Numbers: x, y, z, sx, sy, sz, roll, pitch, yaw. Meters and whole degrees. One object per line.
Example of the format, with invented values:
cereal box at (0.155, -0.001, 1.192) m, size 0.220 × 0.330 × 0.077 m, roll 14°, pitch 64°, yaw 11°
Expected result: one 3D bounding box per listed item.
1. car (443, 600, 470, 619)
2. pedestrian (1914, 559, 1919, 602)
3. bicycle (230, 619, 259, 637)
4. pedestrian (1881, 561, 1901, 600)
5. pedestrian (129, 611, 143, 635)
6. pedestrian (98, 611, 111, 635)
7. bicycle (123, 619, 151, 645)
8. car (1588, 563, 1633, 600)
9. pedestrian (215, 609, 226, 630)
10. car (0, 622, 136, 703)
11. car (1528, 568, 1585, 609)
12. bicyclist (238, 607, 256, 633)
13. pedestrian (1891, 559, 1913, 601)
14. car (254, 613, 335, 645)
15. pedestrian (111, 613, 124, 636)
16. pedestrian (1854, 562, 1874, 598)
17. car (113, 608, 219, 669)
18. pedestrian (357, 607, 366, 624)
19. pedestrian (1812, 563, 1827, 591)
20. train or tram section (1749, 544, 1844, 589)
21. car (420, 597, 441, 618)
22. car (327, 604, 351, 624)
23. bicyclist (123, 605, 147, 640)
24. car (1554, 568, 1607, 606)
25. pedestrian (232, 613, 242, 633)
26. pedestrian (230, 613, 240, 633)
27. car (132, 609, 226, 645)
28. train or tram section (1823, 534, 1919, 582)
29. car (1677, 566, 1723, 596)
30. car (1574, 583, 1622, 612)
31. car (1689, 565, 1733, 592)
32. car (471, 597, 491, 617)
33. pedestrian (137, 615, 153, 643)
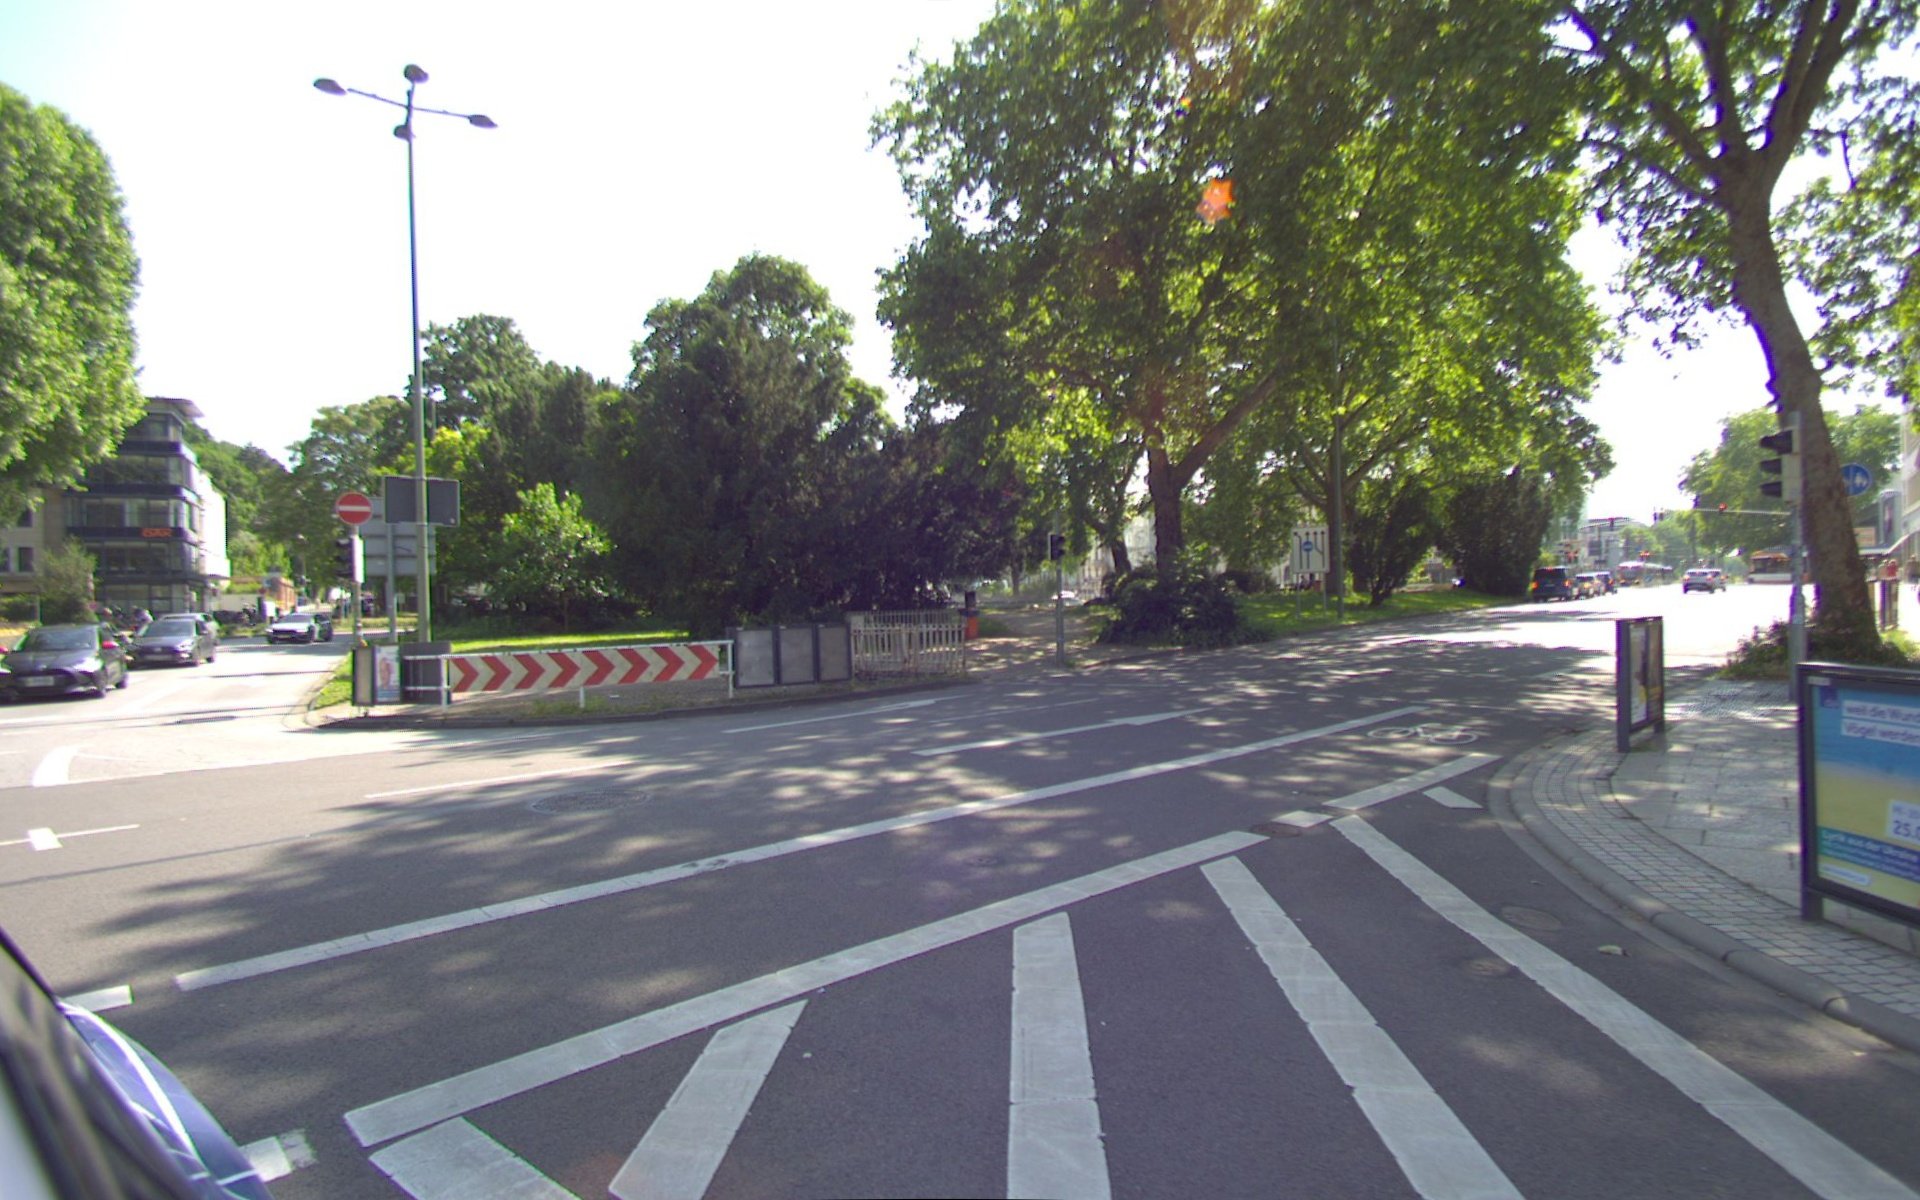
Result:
car at (-46.733, 0.910, 93.894) m, size 1.821 × 1.674 × 4.011 m, roll -1°, pitch 0°, yaw -33°
pedestrian at (46.420, -0.932, 48.704) m, size 0.822 × 2.029 × 0.697 m, roll 0°, pitch 0°, yaw -42°
bicycle at (-44.749, 1.765, 63.312) m, size 0.699 × 1.062 × 2.213 m, roll -1°, pitch 0°, yaw -13°
pedestrian at (48.964, -0.998, 53.251) m, size 0.822 × 2.029 × 0.697 m, roll 0°, pitch 0°, yaw -42°
pedestrian at (-61.028, 1.711, 74.915) m, size 0.690 × 1.718 × 0.604 m, roll -1°, pitch 0°, yaw -31°
pedestrian at (-62.456, 1.667, 73.874) m, size 0.643 × 1.718 × 0.648 m, roll -1°, pitch 0°, yaw -37°
bicycle at (-39.305, 1.505, 48.325) m, size 0.747 × 1.129 × 2.008 m, roll 0°, pitch 1°, yaw -31°
car at (44.930, -1.291, 69.859) m, size 1.935 × 2.351 × 4.001 m, roll -3°, pitch 0°, yaw 43°
pedestrian at (-60.713, 1.619, 83.094) m, size 0.592 × 1.718 × 0.606 m, roll -2°, pitch 0°, yaw -25°
car at (-18.852, 1.228, 21.174) m, size 1.780 × 1.462 × 3.966 m, roll 0°, pitch 0°, yaw -29°
car at (33.709, -0.662, 57.137) m, size 1.935 × 2.184 × 4.001 m, roll -3°, pitch -1°, yaw 43°
bicyclist at (-44.660, 1.252, 63.403) m, size 0.699 × 1.625 × 0.734 m, roll -1°, pitch 0°, yaw -13°
pedestrian at (45.725, -0.961, 49.138) m, size 0.822 × 2.029 × 0.697 m, roll 0°, pitch 0°, yaw -42°
car at (-31.945, 1.359, 48.724) m, size 1.910 × 1.440 × 4.562 m, roll -1°, pitch 0°, yaw -15°
pedestrian at (-62.907, 1.809, 75.536) m, size 0.594 × 1.718 × 0.692 m, roll -1°, pitch 0°, yaw -30°
pedestrian at (45.863, -1.016, 51.330) m, size 0.696 × 1.800 × 0.824 m, roll -2°, pitch -1°, yaw 40°
car at (-24.583, 1.125, 31.482) m, size 1.858 × 1.696 × 4.155 m, roll 1°, pitch 0°, yaw -28°
pedestrian at (-58.710, 1.520, 99.288) m, size 0.592 × 1.718 × 0.606 m, roll -1°, pitch 0°, yaw -23°
pedestrian at (56.643, -1.525, 66.687) m, size 0.696 × 1.800 × 0.824 m, roll -2°, pitch -1°, yaw 40°
train or tram section at (74.578, -2.963, 90.379) m, size 2.115 × 3.711 × 6.387 m, roll -1°, pitch 0°, yaw -15°
car at (-53.229, 0.729, 101.738) m, size 1.820 × 2.029 × 4.013 m, roll -1°, pitch 0°, yaw -27°
car at (-59.682, 1.336, 97.320) m, size 1.820 × 1.801 × 4.012 m, roll -1°, pitch 0°, yaw -30°
bicyclist at (-39.234, 1.073, 48.154) m, size 0.754 × 1.648 × 0.946 m, roll 0°, pitch 0°, yaw -32°
car at (37.415, -0.797, 60.954) m, size 1.935 × 2.096 × 4.001 m, roll -3°, pitch 0°, yaw 43°
pedestrian at (-64.812, 2.065, 90.715) m, size 0.592 × 1.718 × 0.606 m, roll -1°, pitch 0°, yaw -30°
pedestrian at (-63.247, 2.020, 88.319) m, size 0.592 × 1.718 × 0.606 m, roll -1°, pitch 0°, yaw -30°
car at (-34.309, 1.144, 44.587) m, size 1.909 × 1.440 × 4.564 m, roll -1°, pitch 0°, yaw -19°
train or tram section at (76.408, -3.431, 84.555) m, size 2.115 × 3.711 × 6.303 m, roll -1°, pitch 0°, yaw -18°
car at (45.941, -1.195, 62.793) m, size 1.851 × 1.748 × 4.001 m, roll -3°, pitch -1°, yaw 43°
car at (41.487, -0.179, 65.751) m, size 1.935 × 1.712 × 4.001 m, roll -3°, pitch 0°, yaw 43°
car at (50.747, -1.460, 68.335) m, size 1.935 × 1.712 × 4.001 m, roll -3°, pitch 0°, yaw 43°
car at (-49.881, 0.695, 105.372) m, size 1.820 × 2.029 × 4.013 m, roll -1°, pitch 0°, yaw -27°
pedestrian at (-50.601, 1.795, 62.831) m, size 0.699 × 1.685 × 0.536 m, roll -1°, pitch 0°, yaw -33°
